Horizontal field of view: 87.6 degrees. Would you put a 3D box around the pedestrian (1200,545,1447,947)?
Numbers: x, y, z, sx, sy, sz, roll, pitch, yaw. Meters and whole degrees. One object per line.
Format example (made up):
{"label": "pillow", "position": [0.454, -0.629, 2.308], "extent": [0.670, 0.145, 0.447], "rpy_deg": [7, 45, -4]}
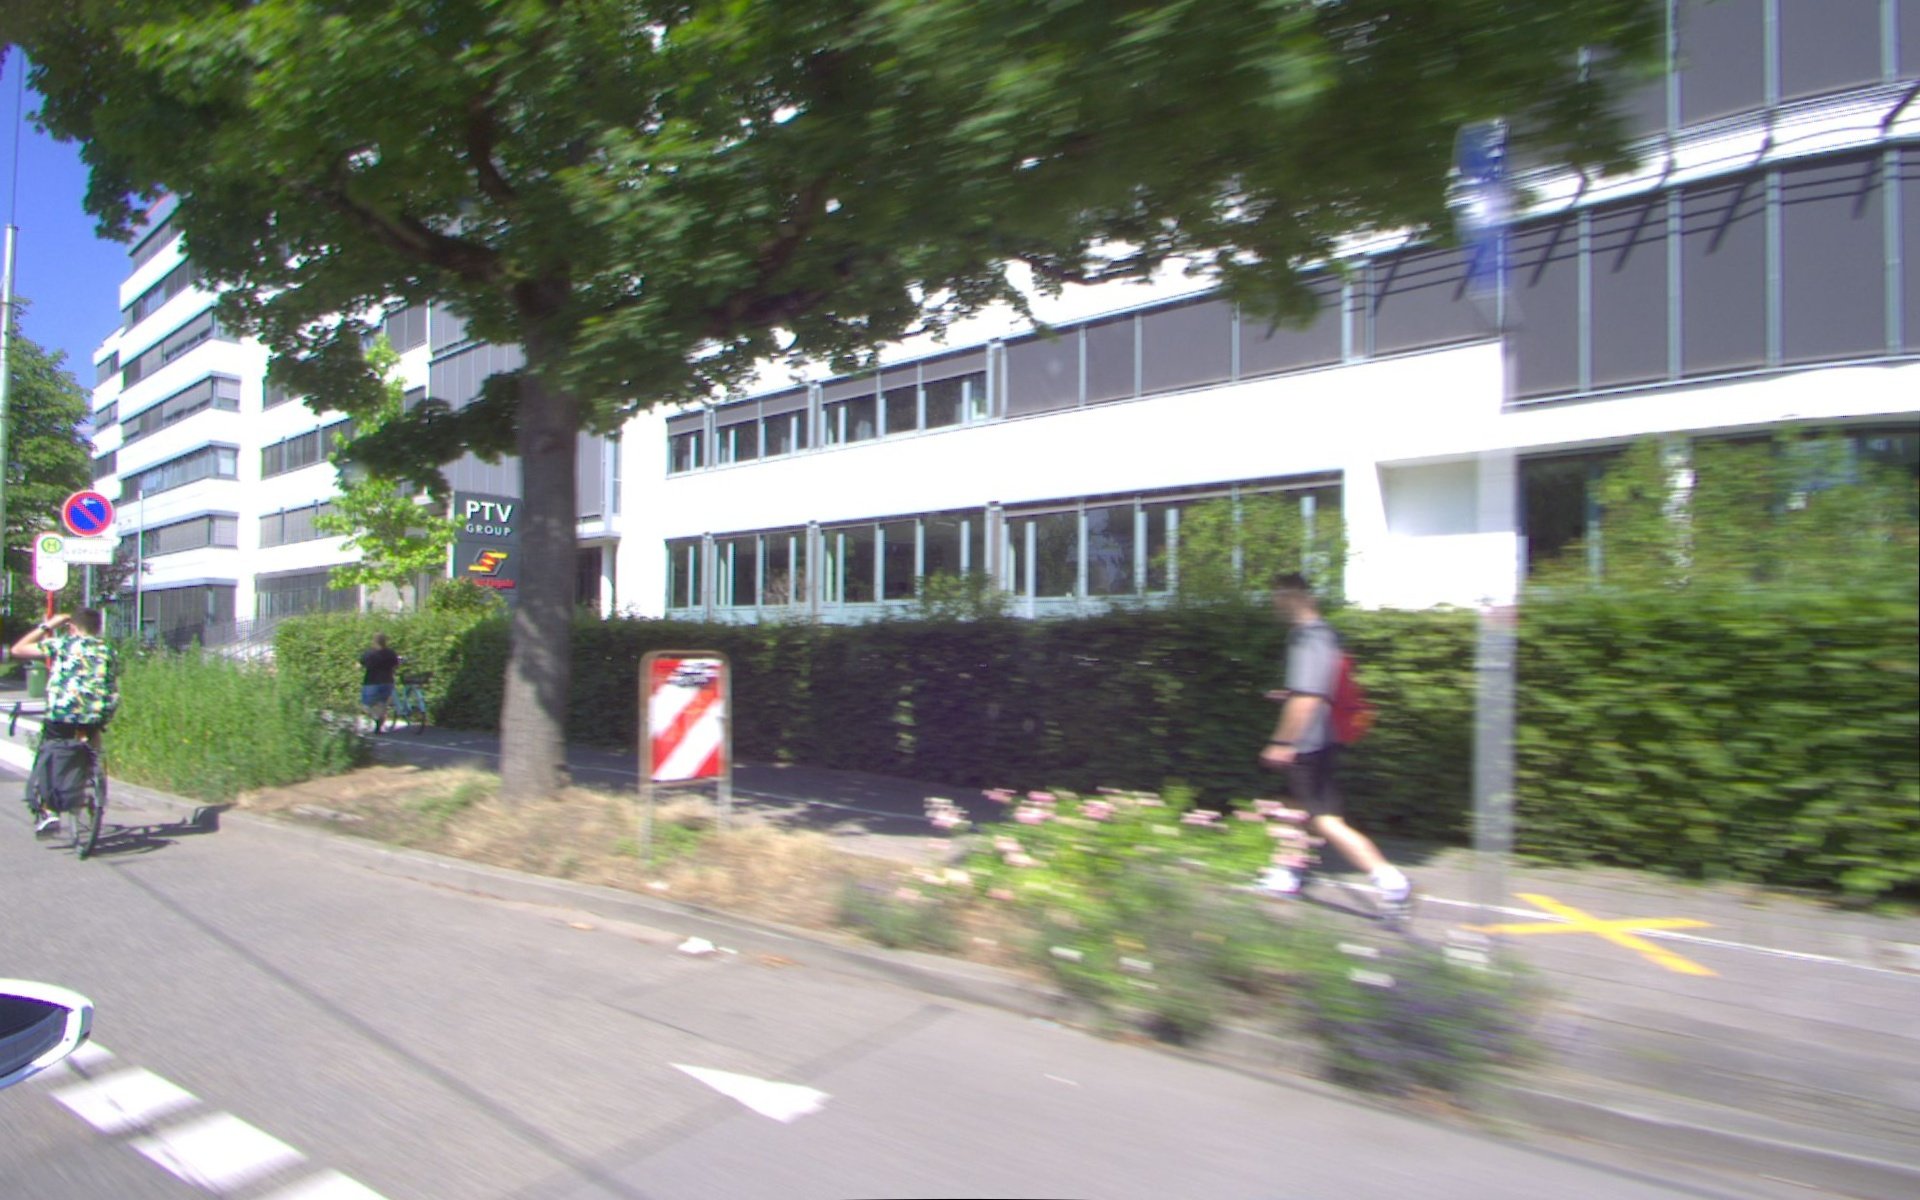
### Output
{"label": "pedestrian", "position": [1.924, 0.694, 5.261], "extent": [1.058, 1.840, 0.888], "rpy_deg": [0, -2, 32]}

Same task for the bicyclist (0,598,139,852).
{"label": "bicyclist", "position": [-6.765, 0.882, 7.485], "extent": [0.975, 1.745, 0.714], "rpy_deg": [-1, -2, 37]}

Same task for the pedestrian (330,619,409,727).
{"label": "pedestrian", "position": [-8.975, 1.085, 15.220], "extent": [0.975, 1.583, 0.684], "rpy_deg": [-1, -1, 34]}

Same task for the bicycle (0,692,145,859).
{"label": "bicycle", "position": [-6.816, 1.243, 7.529], "extent": [2.137, 0.996, 0.606], "rpy_deg": [-1, -3, 39]}

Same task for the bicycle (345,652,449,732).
{"label": "bicycle", "position": [-8.649, 1.372, 15.362], "extent": [2.041, 1.131, 0.634], "rpy_deg": [-1, -3, 38]}
